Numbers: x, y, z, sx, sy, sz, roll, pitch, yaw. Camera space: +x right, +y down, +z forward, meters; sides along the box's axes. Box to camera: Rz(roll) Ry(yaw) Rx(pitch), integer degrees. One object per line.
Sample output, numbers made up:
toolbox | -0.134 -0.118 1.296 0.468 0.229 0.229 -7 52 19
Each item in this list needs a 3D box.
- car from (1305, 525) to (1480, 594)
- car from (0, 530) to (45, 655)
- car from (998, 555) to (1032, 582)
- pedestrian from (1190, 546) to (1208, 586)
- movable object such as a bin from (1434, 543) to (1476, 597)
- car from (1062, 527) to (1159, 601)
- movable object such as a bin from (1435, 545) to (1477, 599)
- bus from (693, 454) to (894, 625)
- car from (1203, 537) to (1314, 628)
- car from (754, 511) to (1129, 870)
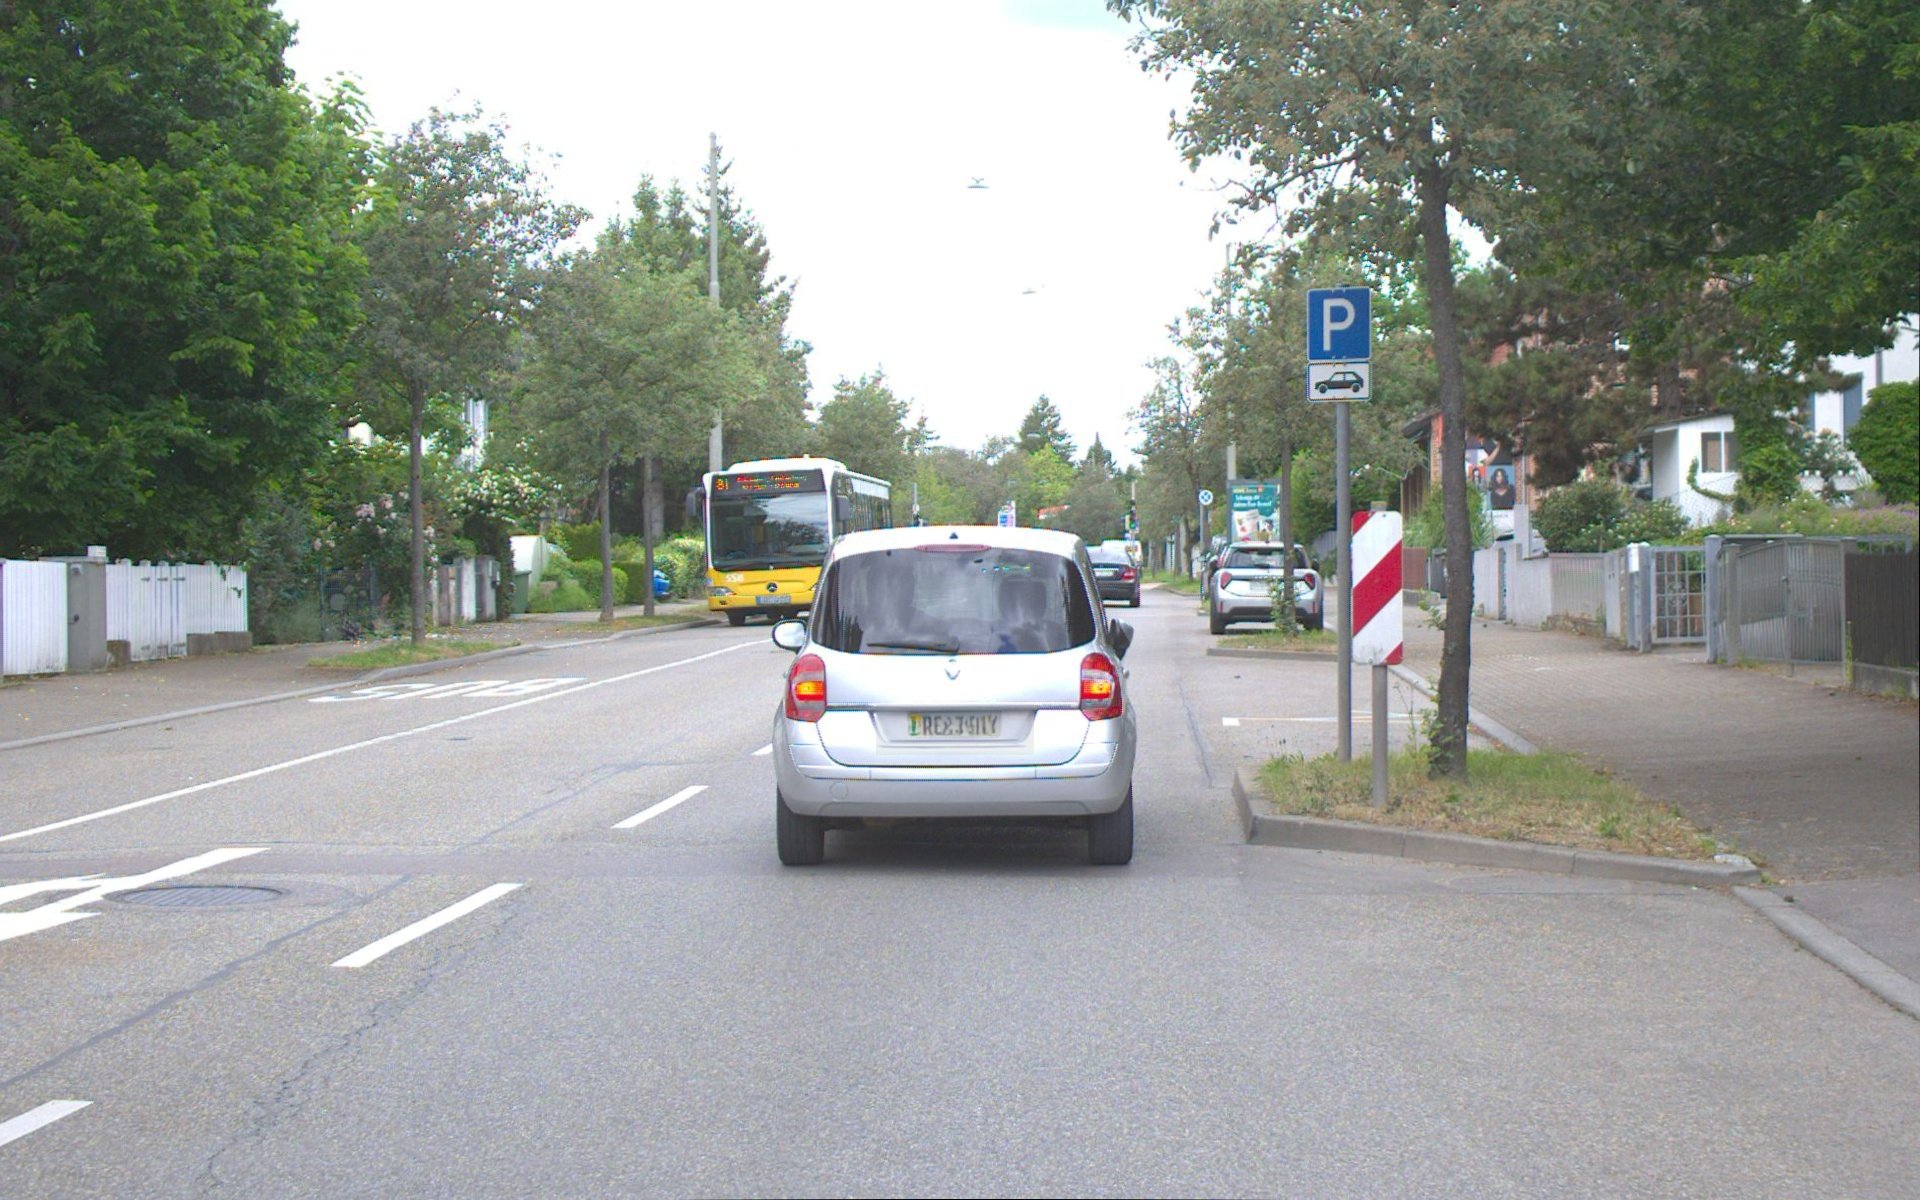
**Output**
car | 10.826 -1.014 86.282 3.986 1.491 1.810 -3 1 -5
car | -12.896 -0.052 42.691 1.806 1.559 4.619 -2 1 -1
car | 3.325 -1.900 208.614 1.905 1.612 4.000 0 0 -2
pedestrian | 9.849 -1.398 141.885 0.705 1.641 0.773 -1 1 3
movable object such as a bin | 10.284 -0.620 71.465 0.776 1.100 0.691 -1 1 3
car | 3.520 -0.828 79.768 1.830 1.670 3.573 0 0 9
movable object such as a bin | 10.208 -0.585 70.711 0.776 1.100 0.691 -1 1 3
bus | -3.188 -1.212 69.471 2.632 3.075 12.068 -2 1 4
car | 4.664 -0.257 54.078 1.650 1.378 3.999 0 0 4
car | -0.005 0.404 17.188 1.630 1.551 4.000 1 0 2
